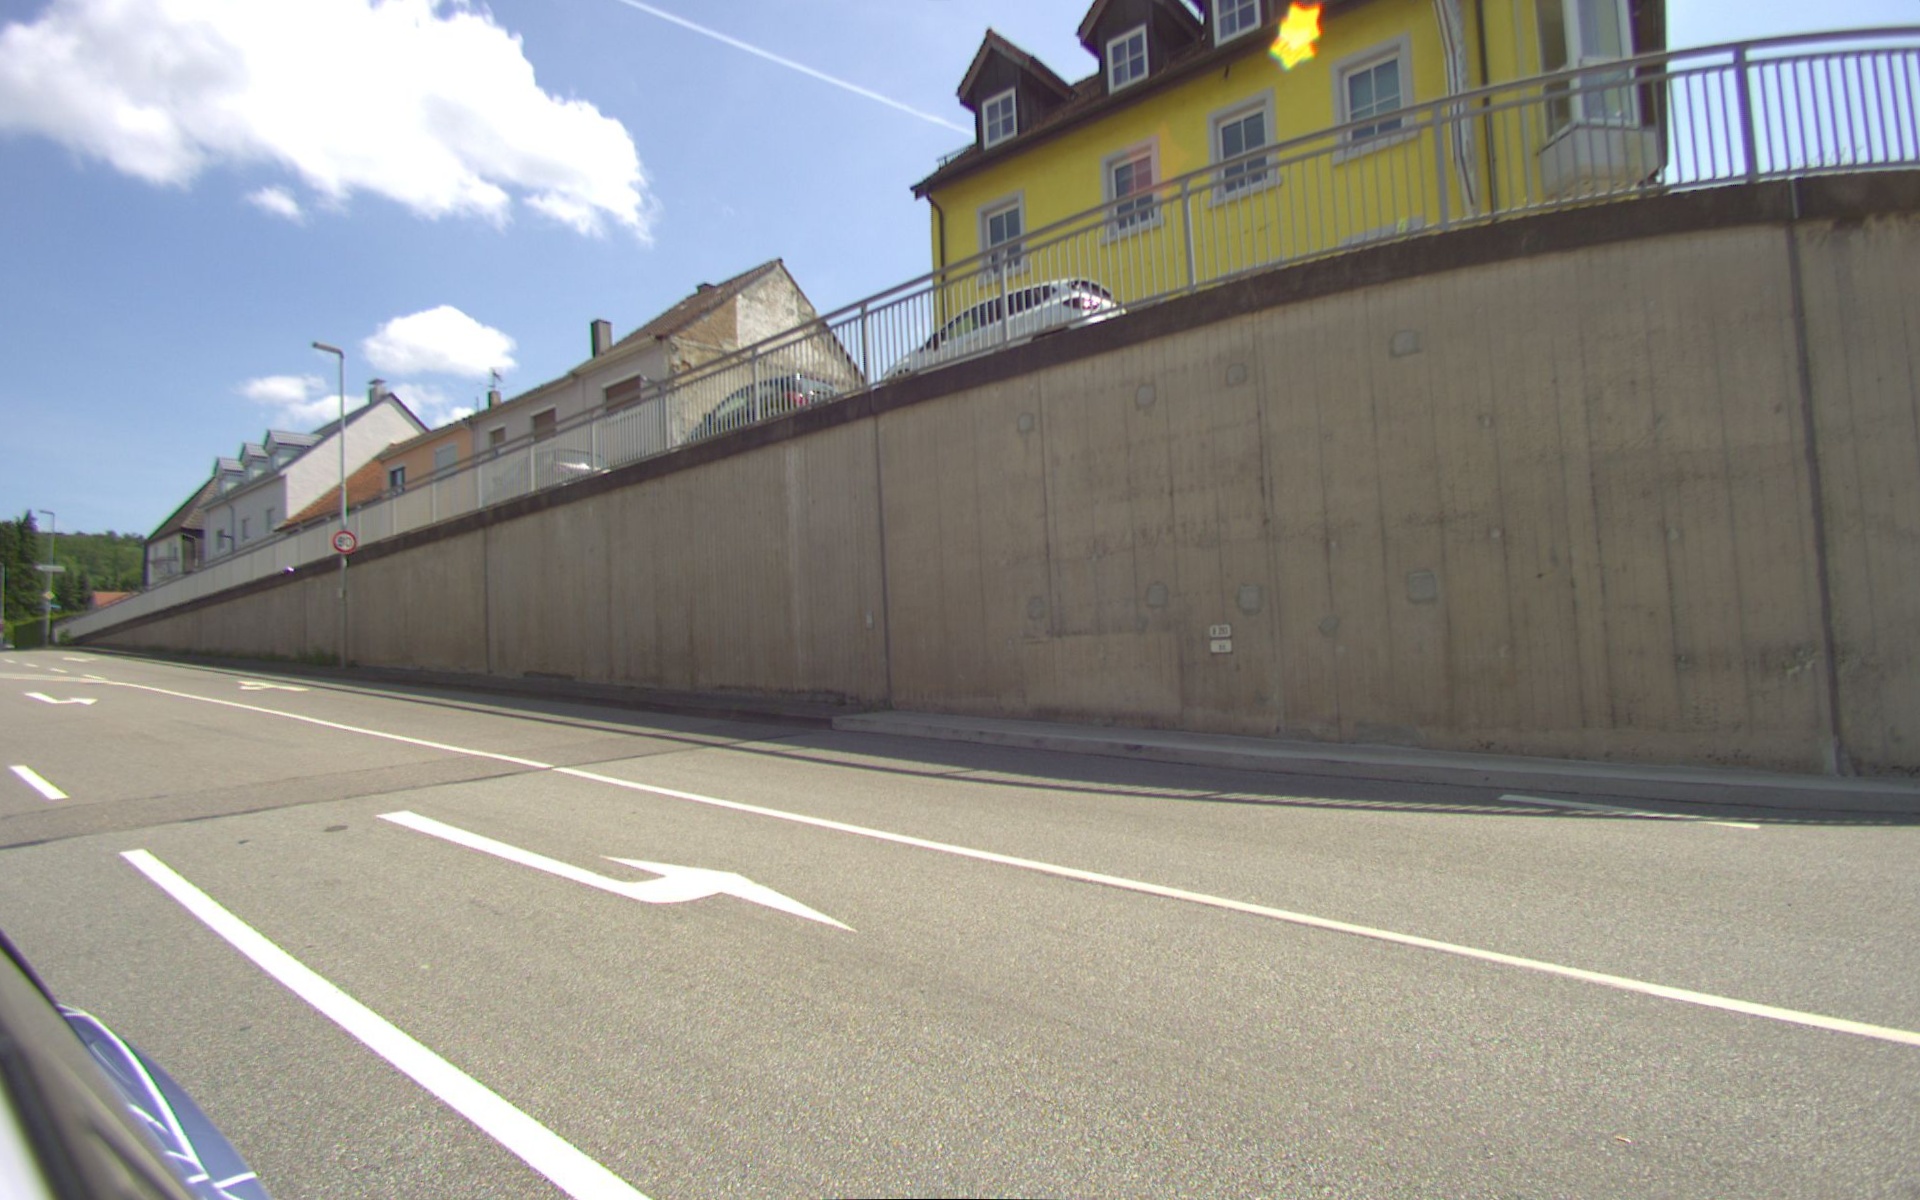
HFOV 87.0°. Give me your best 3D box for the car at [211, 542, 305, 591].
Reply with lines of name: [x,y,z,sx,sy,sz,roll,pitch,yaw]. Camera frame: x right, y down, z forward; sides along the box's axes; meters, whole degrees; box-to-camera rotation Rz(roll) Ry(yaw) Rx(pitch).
car: [-26.228,-1.205,37.745,4.388,1.416,1.768,-4,-3,39]

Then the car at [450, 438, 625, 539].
car: [-9.551,-2.399,22.712,4.388,1.536,1.780,-4,-3,39]

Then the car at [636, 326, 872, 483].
car: [-3.706,-3.283,17.817,4.218,1.718,1.804,-4,-3,39]

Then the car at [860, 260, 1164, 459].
car: [0.660,-3.274,14.581,3.996,1.681,1.883,-4,-3,40]
